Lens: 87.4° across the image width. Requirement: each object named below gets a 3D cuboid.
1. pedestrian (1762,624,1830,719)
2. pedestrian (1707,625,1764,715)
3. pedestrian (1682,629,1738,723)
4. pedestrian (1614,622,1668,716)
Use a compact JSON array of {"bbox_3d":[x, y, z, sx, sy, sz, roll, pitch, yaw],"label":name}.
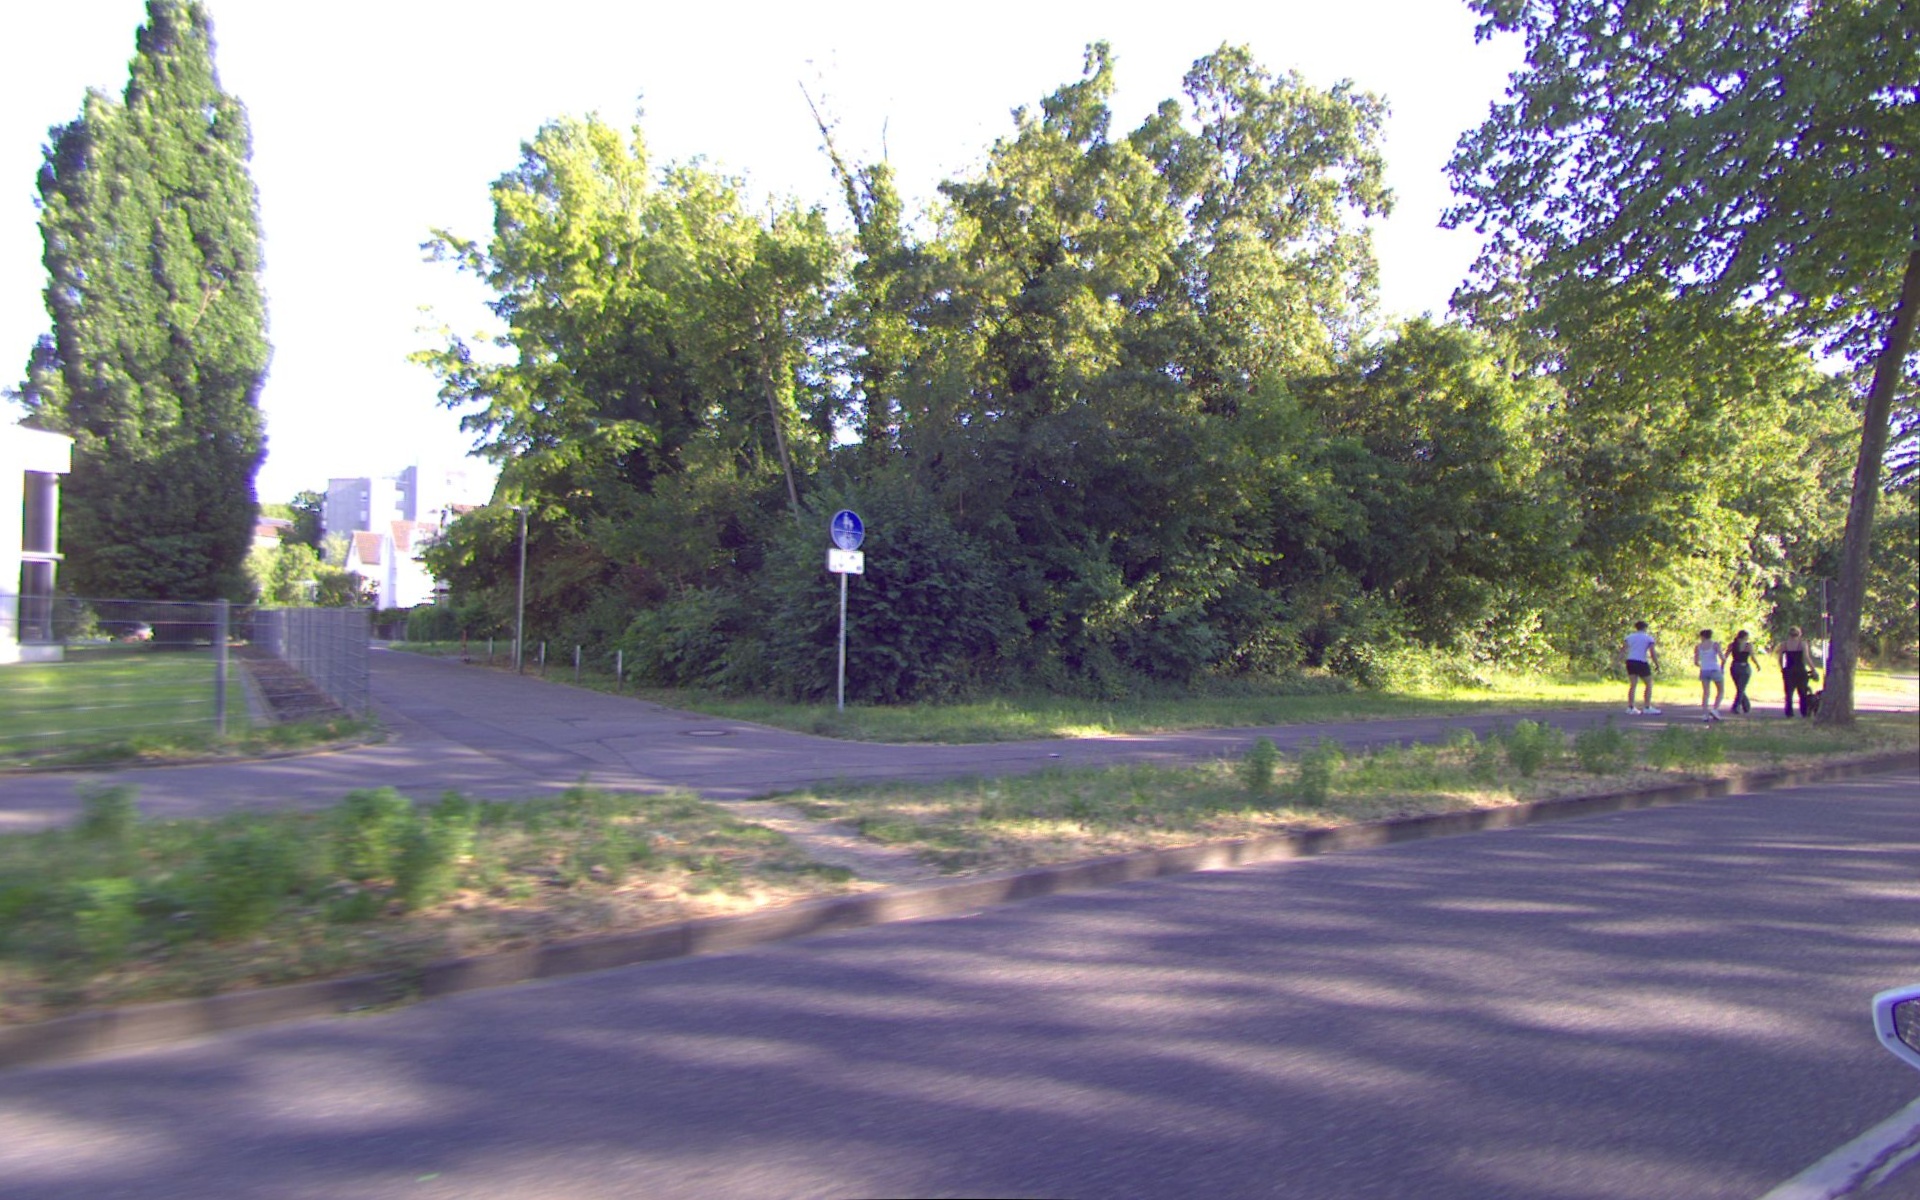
[{"bbox_3d":[15.934,1.344,19.158,0.841,1.762,0.745,2,-2,-28],"label":"pedestrian"},{"bbox_3d":[15.520,1.382,20.114,0.742,1.762,0.663,2,-2,-28],"label":"pedestrian"},{"bbox_3d":[13.586,1.358,18.205,0.569,1.659,0.630,2,-2,-28],"label":"pedestrian"},{"bbox_3d":[13.108,1.310,19.335,0.656,1.762,0.630,2,-2,-28],"label":"pedestrian"}]
